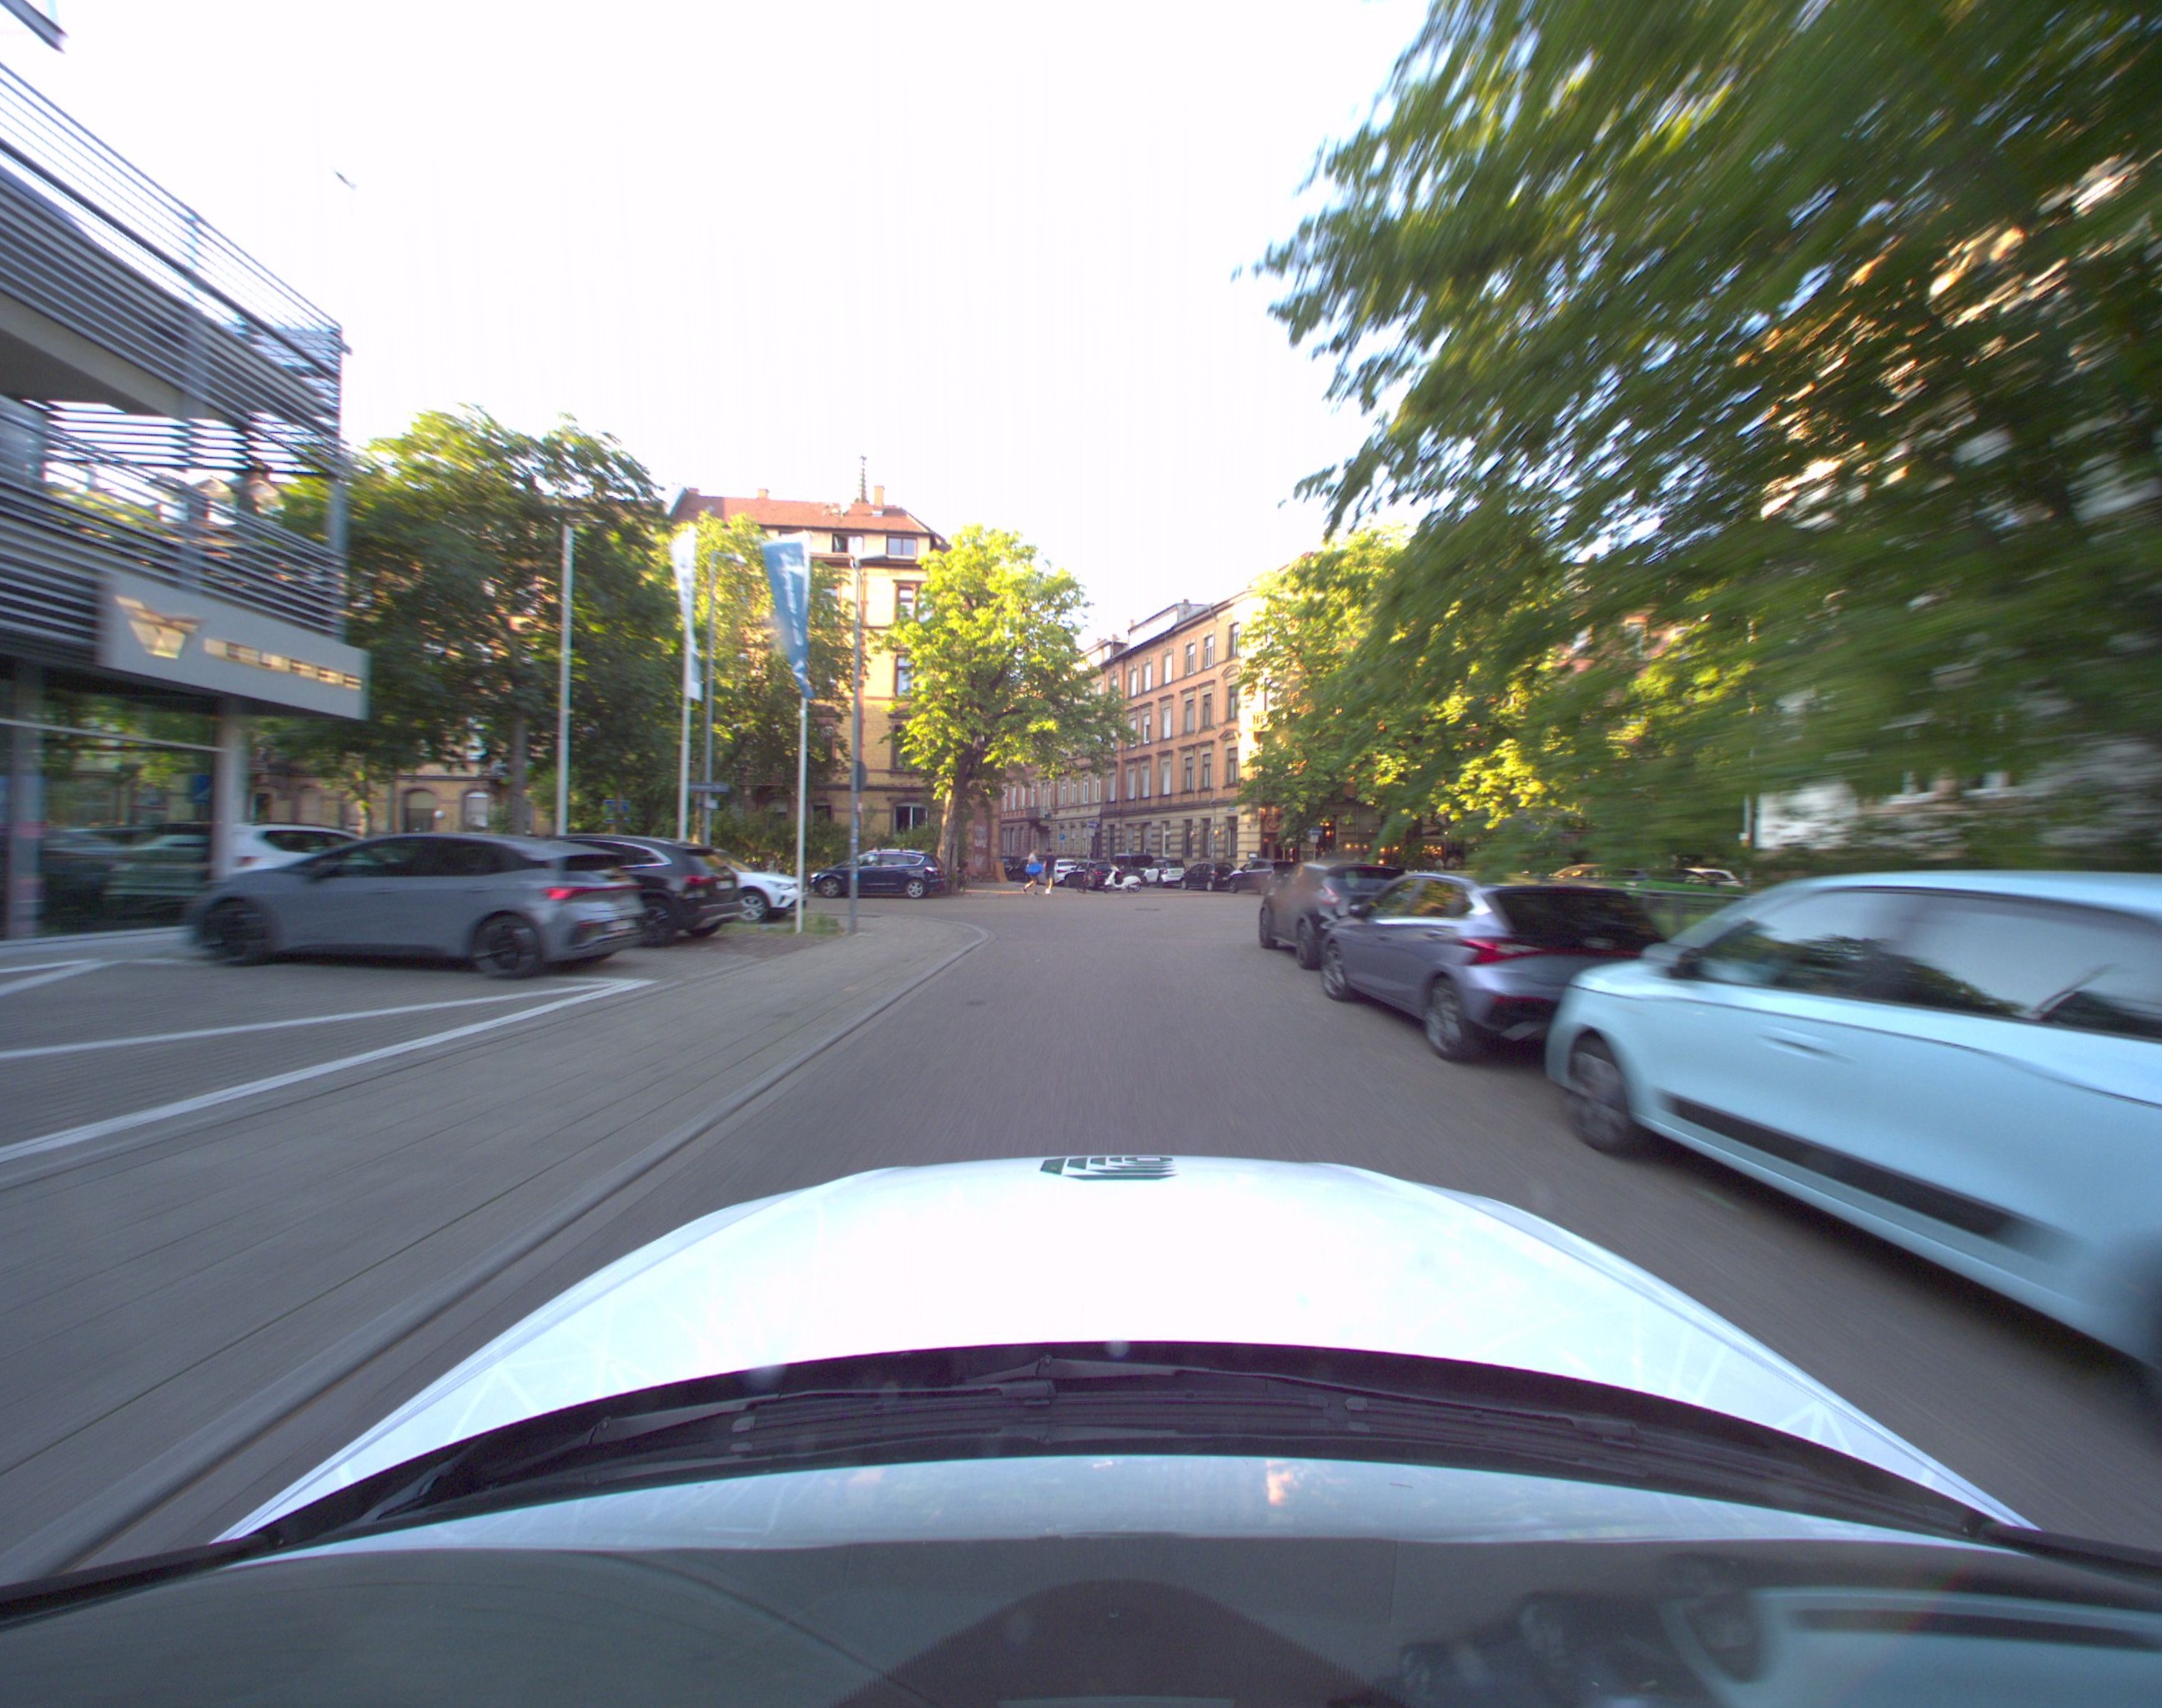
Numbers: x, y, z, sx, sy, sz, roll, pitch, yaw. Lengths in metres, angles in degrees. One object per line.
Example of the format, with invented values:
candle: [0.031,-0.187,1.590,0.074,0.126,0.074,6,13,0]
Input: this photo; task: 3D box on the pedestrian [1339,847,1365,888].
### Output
pedestrian: [12.230,0.612,36.786,0.774,1.804,0.839,1,0,-13]

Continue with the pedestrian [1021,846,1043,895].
pedestrian: [-1.875,0.628,31.223,0.813,1.852,0.802,1,0,-3]

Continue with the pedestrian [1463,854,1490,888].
pedestrian: [17.524,0.749,36.136,0.773,1.481,0.759,1,0,-9]

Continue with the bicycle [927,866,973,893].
bicycle: [-4.965,0.962,30.955,1.678,1.028,0.442,1,0,-22]

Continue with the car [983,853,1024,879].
car: [-5.172,0.780,53.905,1.661,1.524,3.868,1,1,-22]

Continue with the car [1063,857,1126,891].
car: [0.613,0.936,39.645,1.661,1.431,3.961,1,1,-22]

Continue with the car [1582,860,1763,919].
car: [16.909,1.038,23.400,3.952,1.530,1.878,2,-3,-5]

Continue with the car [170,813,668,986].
car: [-7.381,0.463,9.450,4.116,1.618,1.913,3,1,0]

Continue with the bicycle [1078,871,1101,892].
bicycle: [0.370,1.148,34.142,0.421,0.822,1.470,1,1,24]

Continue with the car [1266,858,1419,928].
car: [6.366,0.867,19.636,3.994,1.466,1.858,1,1,-45]

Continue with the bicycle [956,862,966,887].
bicycle: [-5.199,0.879,35.327,0.241,1.028,1.676,1,1,-2]

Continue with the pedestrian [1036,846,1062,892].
pedestrian: [-1.268,0.581,32.187,0.737,1.804,1.115,1,0,-18]

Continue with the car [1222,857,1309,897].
car: [8.145,0.983,36.271,1.922,1.525,3.868,1,1,-22]

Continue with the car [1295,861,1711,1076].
car: [3.549,0.832,7.853,1.691,1.477,4.208,1,0,-3]

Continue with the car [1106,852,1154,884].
car: [2.874,0.805,48.035,1.681,1.782,2.993,1,0,-22]

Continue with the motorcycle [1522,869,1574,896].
motorcycle: [19.502,1.185,34.056,1.822,1.081,0.520,1,0,8]

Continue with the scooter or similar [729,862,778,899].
scooter or similar: [-11.200,0.895,27.864,1.519,1.224,0.442,1,0,-22]

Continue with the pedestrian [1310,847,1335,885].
pedestrian: [11.509,0.576,38.864,0.843,1.804,0.771,1,0,-19]

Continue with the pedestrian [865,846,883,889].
pedestrian: [-7.847,0.511,30.907,0.541,1.635,0.448,1,0,-3]

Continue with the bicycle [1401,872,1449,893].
bicycle: [14.461,1.195,34.205,1.969,0.885,0.399,1,0,-12]

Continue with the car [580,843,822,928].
car: [-7.738,0.616,16.905,4.035,1.475,1.919,3,1,-2]

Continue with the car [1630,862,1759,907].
car: [22.967,1.134,30.535,3.749,1.554,1.624,2,-1,-5]

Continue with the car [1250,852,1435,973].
car: [3.857,0.775,12.717,1.689,1.571,3.972,1,0,1]

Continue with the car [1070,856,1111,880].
car: [0.609,0.884,53.404,1.681,1.431,2.993,1,0,-22]

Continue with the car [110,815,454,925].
car: [-13.105,0.245,13.825,1.697,1.550,4.220,1,0,-2]

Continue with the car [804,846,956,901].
car: [-6.889,0.656,28.373,4.820,1.732,1.918,2,1,-5]

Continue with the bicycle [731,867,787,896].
bicycle: [-11.488,0.974,29.077,1.862,1.028,0.442,1,0,-23]

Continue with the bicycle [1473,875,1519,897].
bicycle: [17.394,1.330,34.114,1.875,0.885,0.399,1,0,-12]

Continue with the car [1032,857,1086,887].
car: [-1.244,0.956,44.194,1.660,1.431,4.139,1,1,-20]

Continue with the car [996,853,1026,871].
car: [-5.946,0.668,68.880,1.681,1.431,2.993,1,0,-22]

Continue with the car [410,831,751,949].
car: [-7.442,0.501,12.409,4.054,1.618,1.765,1,1,0]

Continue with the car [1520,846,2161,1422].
car: [3.599,0.735,3.284,1.690,1.477,3.557,1,0,-2]

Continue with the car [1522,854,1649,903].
car: [18.643,0.902,30.164,3.749,1.605,1.625,2,2,-5]

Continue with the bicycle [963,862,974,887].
bicycle: [-4.883,0.889,35.438,0.318,1.028,1.676,1,1,-2]

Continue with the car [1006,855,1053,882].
car: [-3.097,0.861,48.529,1.661,1.431,3.868,1,1,-22]

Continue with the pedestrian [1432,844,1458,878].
pedestrian: [16.106,0.304,36.056,0.773,1.481,0.759,1,0,-9]

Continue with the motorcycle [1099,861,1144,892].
motorcycle: [1.797,1.016,36.223,1.931,1.340,0.575,1,0,-9]

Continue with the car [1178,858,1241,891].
car: [6.402,1.005,40.792,1.681,1.525,3.220,1,1,-22]

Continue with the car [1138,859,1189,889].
car: [4.488,1.069,44.532,1.681,1.525,2.747,2,0,-22]
